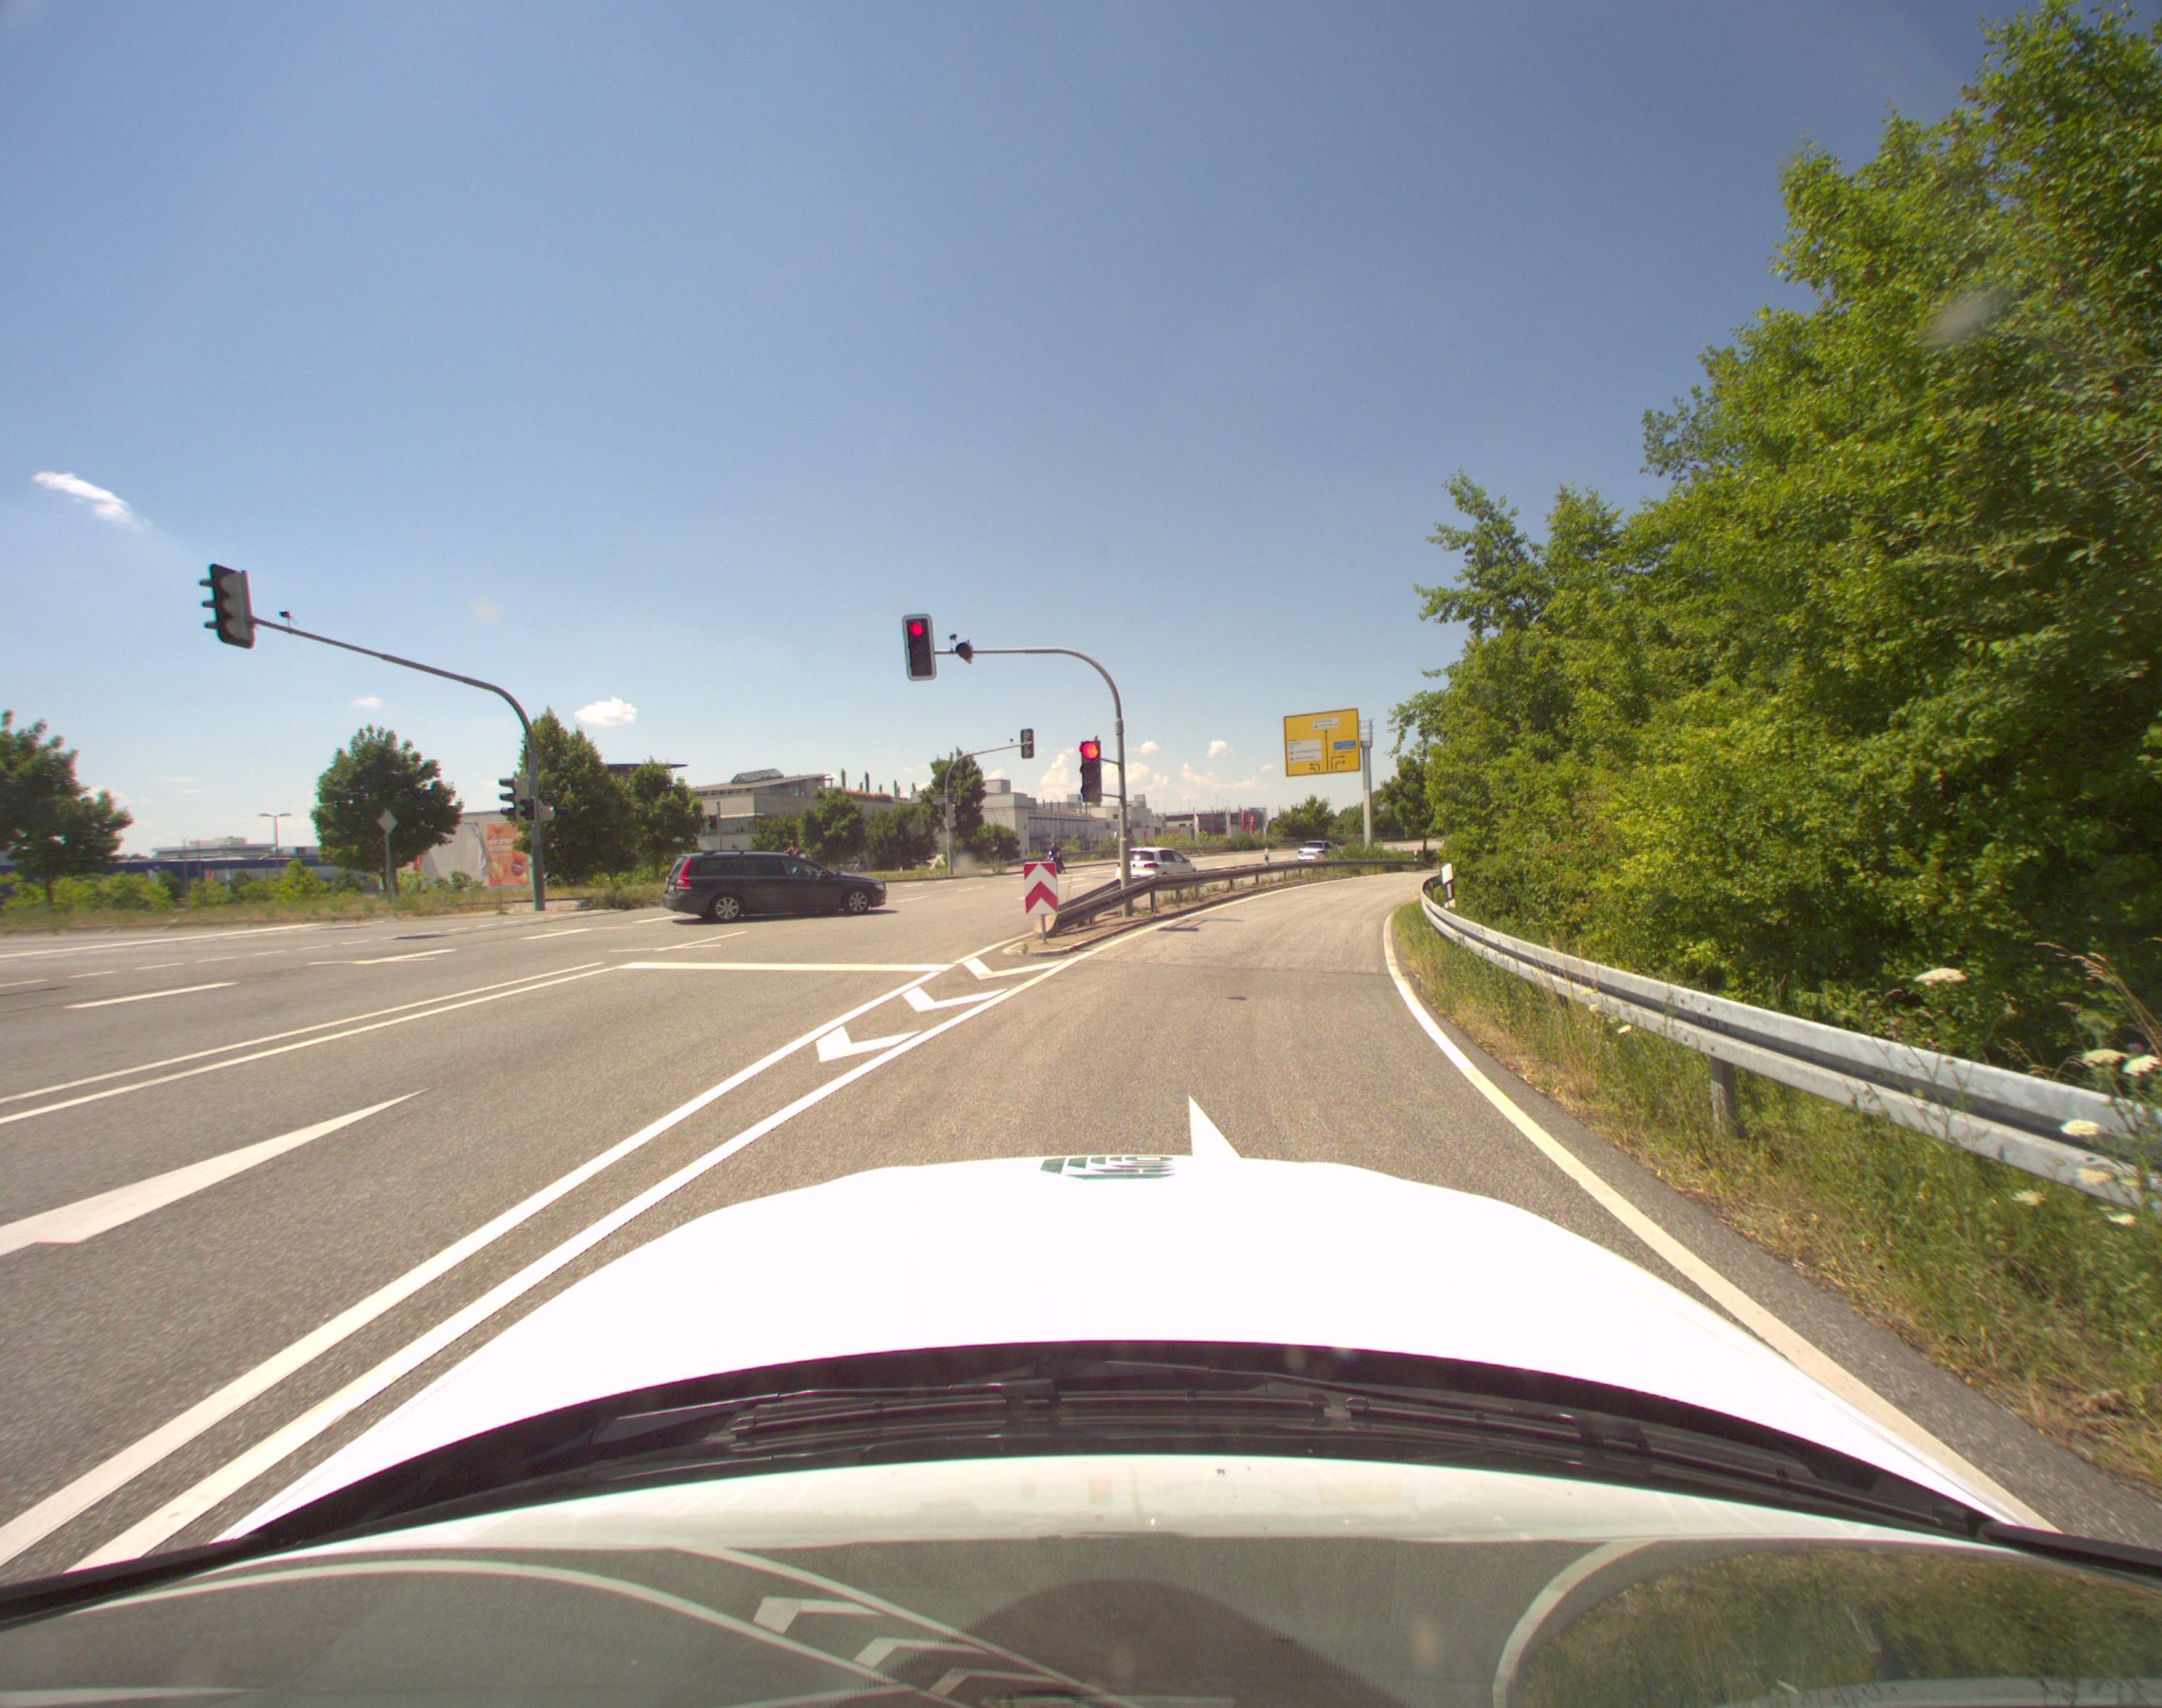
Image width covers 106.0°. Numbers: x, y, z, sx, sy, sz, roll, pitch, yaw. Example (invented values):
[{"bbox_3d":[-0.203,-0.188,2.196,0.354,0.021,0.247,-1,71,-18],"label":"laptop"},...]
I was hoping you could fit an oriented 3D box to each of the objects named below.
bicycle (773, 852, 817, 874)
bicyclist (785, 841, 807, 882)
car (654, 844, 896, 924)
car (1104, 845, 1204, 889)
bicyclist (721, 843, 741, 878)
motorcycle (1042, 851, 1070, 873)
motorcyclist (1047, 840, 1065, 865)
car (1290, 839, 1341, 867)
[{"bbox_3d":[-12.126,0.360,34.584,0.529,0.852,2.138,0,1,21],"label":"bicycle"},{"bbox_3d":[-12.117,0.328,34.612,0.525,1.717,0.734,0,1,21],"label":"bicyclist"},{"bbox_3d":[-6.726,0.586,18.212,4.757,1.545,1.717,-1,0,-39],"label":"car"},{"bbox_3d":[2.740,0.442,29.728,1.974,1.486,4.161,-1,0,31],"label":"car"},{"bbox_3d":[-14.091,0.246,32.796,0.404,1.404,0.687,0,0,11],"label":"bicyclist"},{"bbox_3d":[-1.333,0.416,43.876,0.557,1.080,2.297,-2,0,21],"label":"motorcycle"},{"bbox_3d":[-1.330,-0.103,43.943,0.669,1.303,0.727,-3,-1,21],"label":"motorcyclist"},{"bbox_3d":[14.402,-0.071,49.934,1.974,1.505,4.423,-3,-1,29],"label":"car"}]
